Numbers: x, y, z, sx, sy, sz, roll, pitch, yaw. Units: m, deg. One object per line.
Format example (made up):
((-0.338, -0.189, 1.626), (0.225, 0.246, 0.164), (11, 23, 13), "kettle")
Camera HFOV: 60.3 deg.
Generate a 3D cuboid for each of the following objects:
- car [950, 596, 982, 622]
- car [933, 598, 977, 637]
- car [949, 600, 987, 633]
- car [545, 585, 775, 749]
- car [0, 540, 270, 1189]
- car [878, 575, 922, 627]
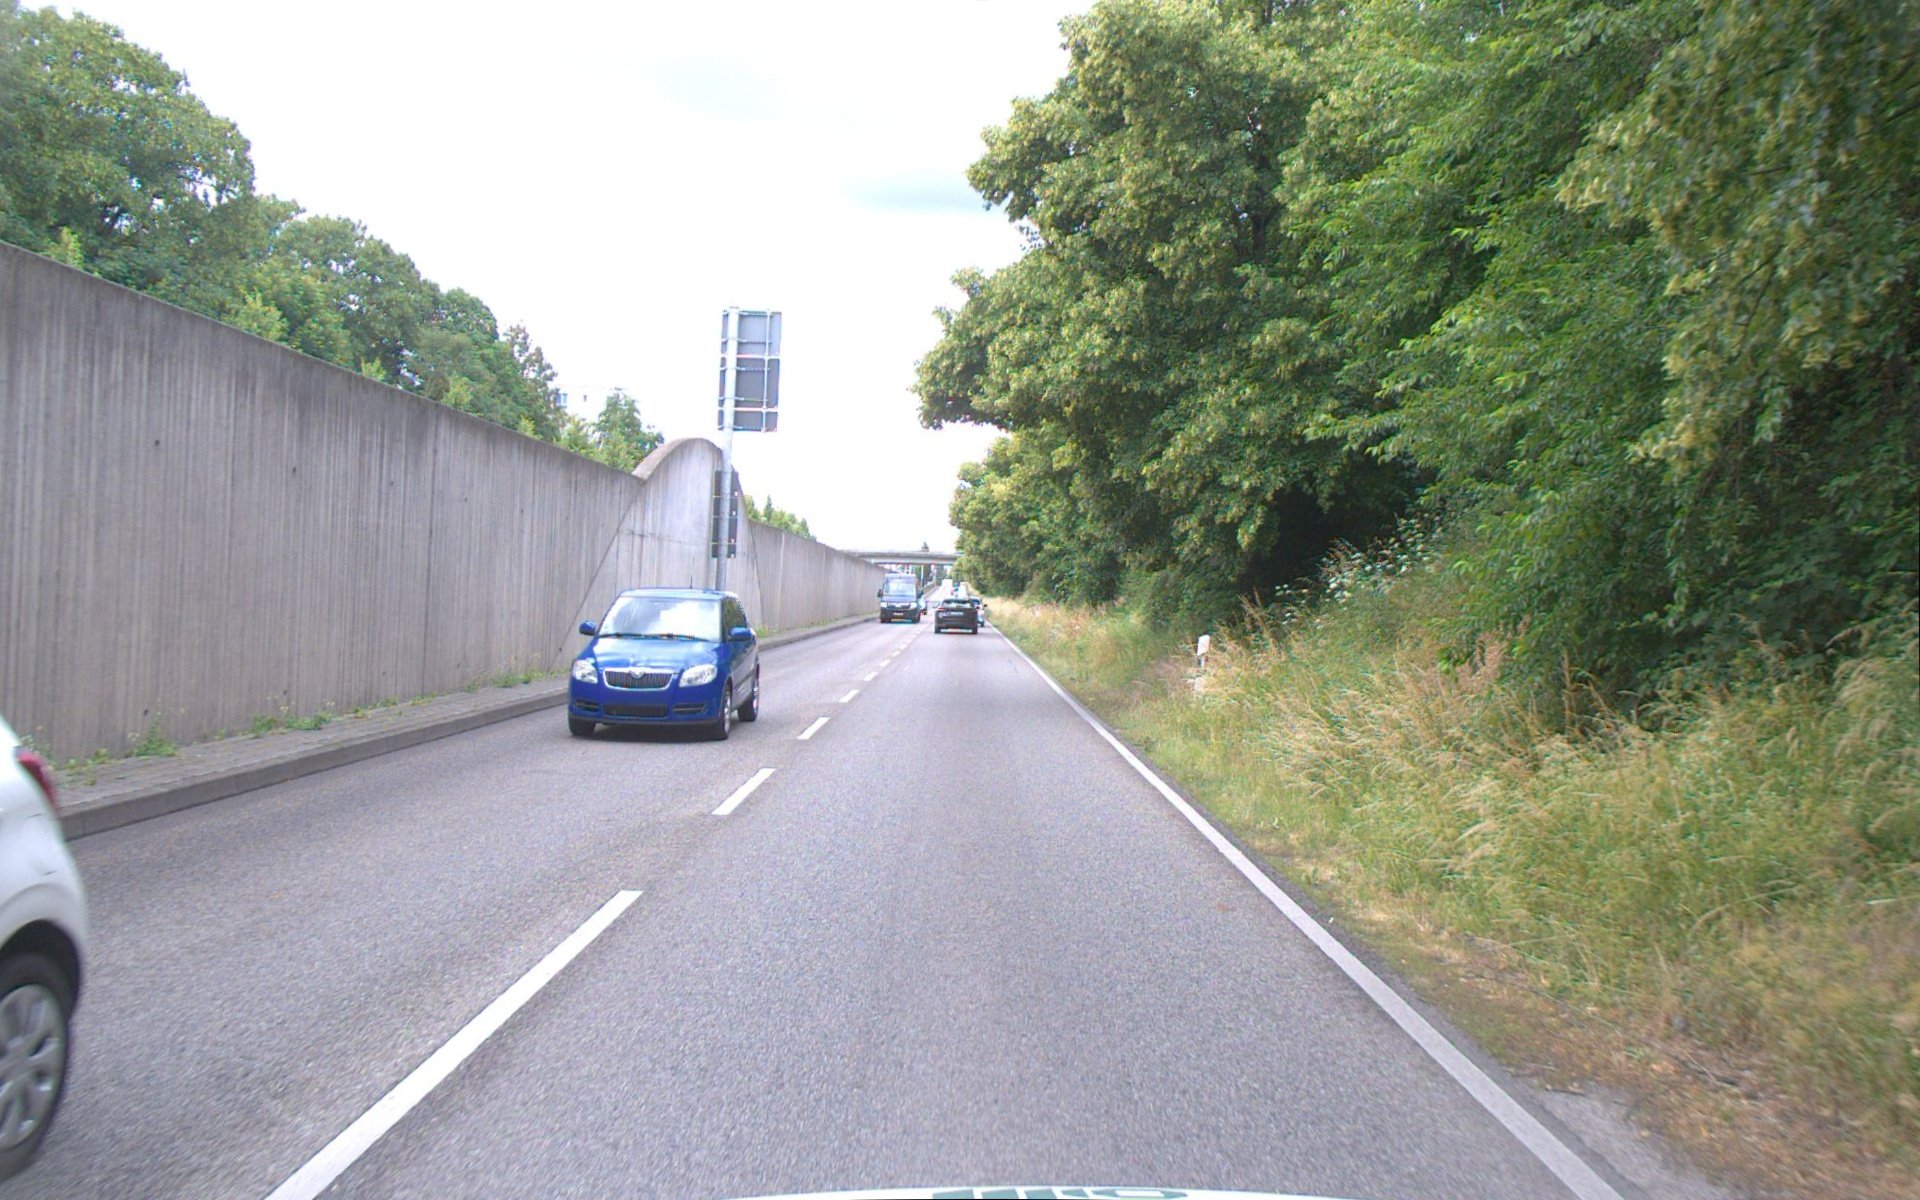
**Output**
((0.381, 0.552, 106.632), (1.829, 1.516, 4.255), (4, 0, -2), "car")
((-0.229, 0.695, 66.964), (1.719, 1.550, 4.035), (0, 0, -1), "car")
((0.384, 0.854, 83.306), (1.719, 1.550, 4.034), (-2, -2, -2), "car")
((-3.115, 0.633, 17.993), (1.731, 1.522, 4.208), (2, 0, -1), "car")
((-3.158, 0.599, 3.253), (1.876, 1.522, 4.207), (2, 0, -1), "car")
((-3.220, 0.036, 90.054), (2.066, 2.676, 7.417), (1, 0, 0), "car")
